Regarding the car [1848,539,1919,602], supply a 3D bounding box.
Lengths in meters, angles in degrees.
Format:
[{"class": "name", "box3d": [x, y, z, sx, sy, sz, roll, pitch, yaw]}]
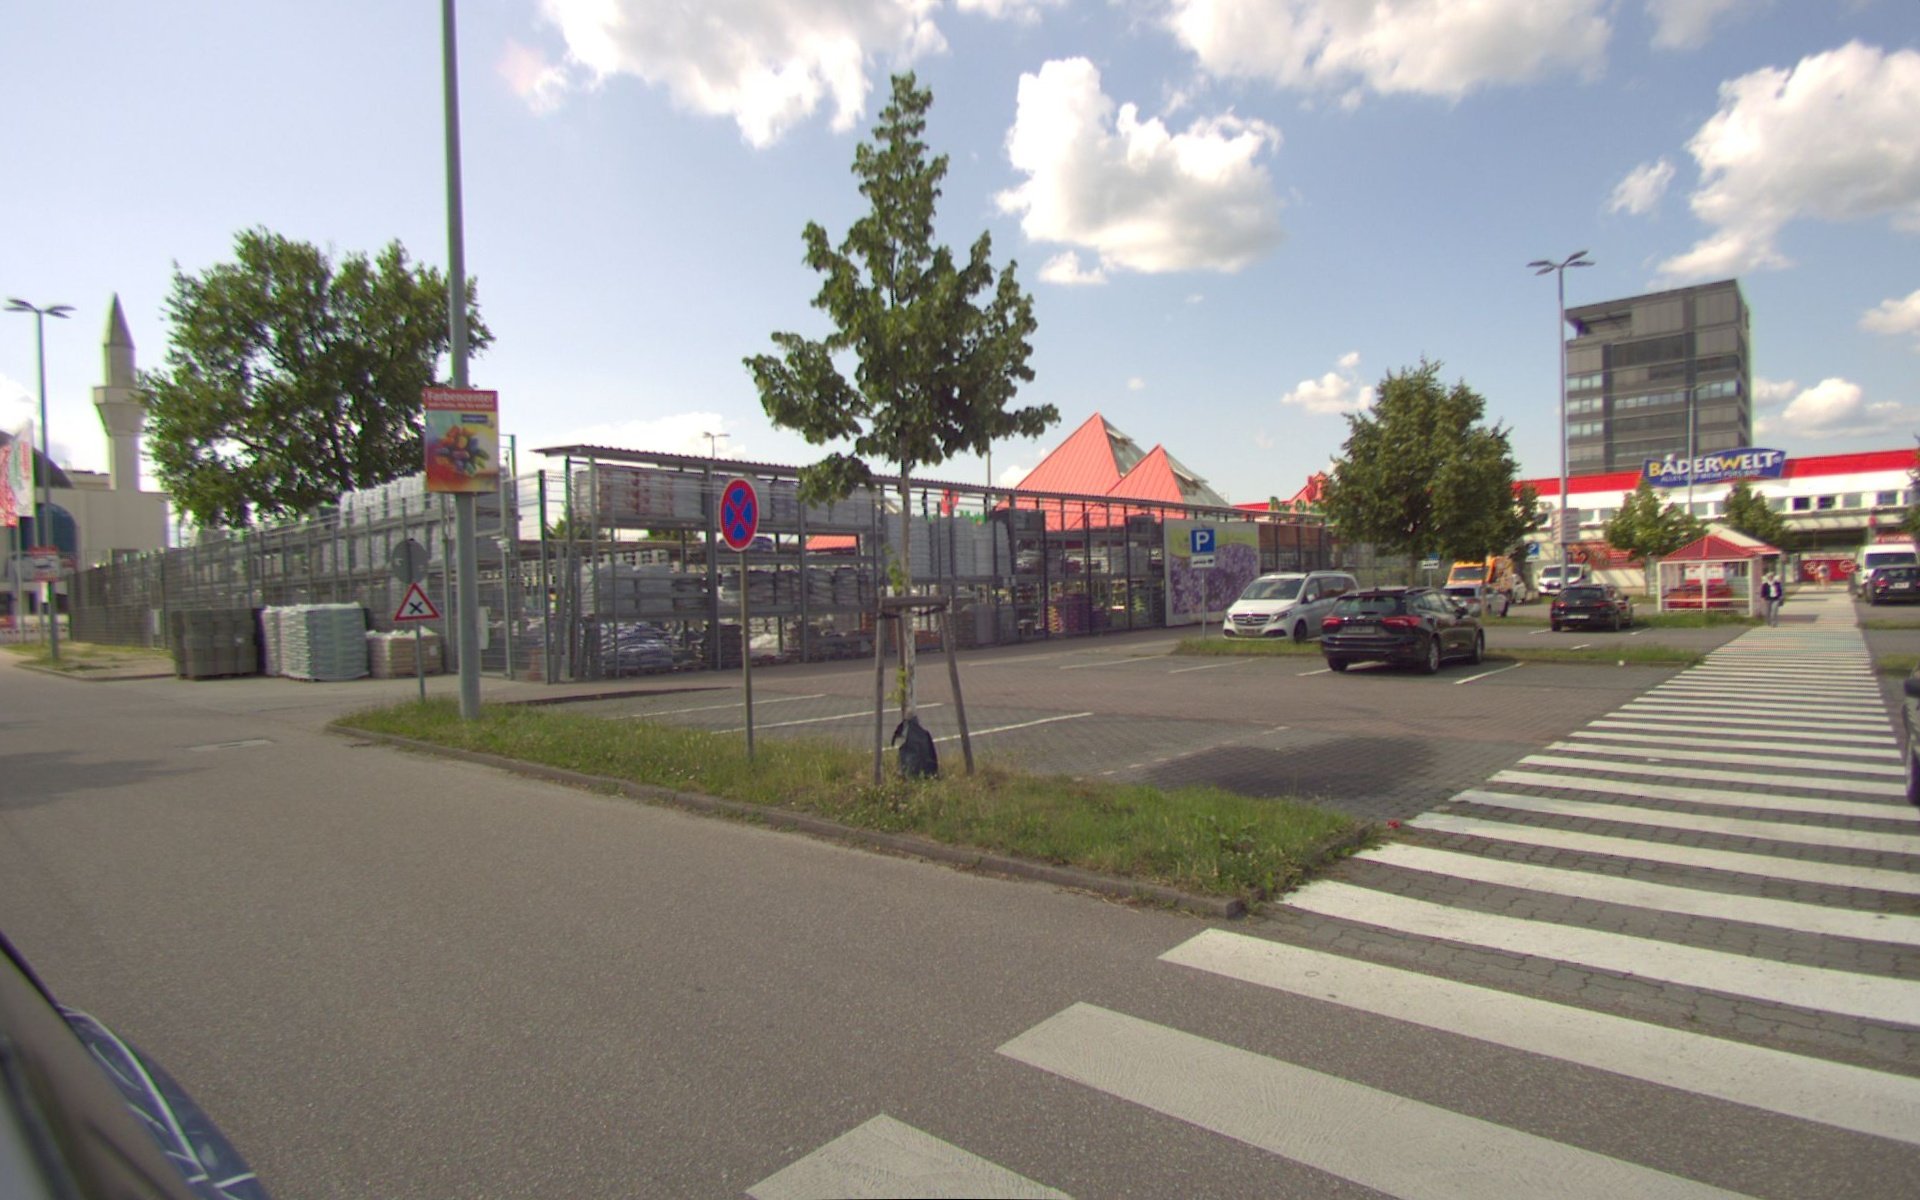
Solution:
[{"class": "car", "box3d": [41.254, -1.287, 45.025, 2.235, 2.656, 4.276, 0, 1, 36]}]

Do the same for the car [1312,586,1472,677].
[{"class": "car", "box3d": [7.787, 0.501, 18.086, 1.809, 1.415, 3.312, -1, 0, 38]}]

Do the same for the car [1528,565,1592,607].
[{"class": "car", "box3d": [31.006, -0.756, 52.216, 1.999, 2.028, 4.742, 3, 3, 41]}]

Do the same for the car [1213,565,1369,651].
[{"class": "car", "box3d": [8.791, 0.150, 26.577, 1.999, 2.029, 5.116, -2, 0, 41]}]

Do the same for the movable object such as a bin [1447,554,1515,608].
[{"class": "movable object such as a bin", "box3d": [25.737, -0.934, 49.872, 2.126, 2.512, 5.272, -2, 0, 36]}]

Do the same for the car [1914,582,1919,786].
[{"class": "car", "box3d": [5.941, 0.589, 4.961, 1.620, 1.378, 3.712, -2, 0, 40]}]

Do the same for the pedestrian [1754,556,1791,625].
[{"class": "pedestrian", "box3d": [24.561, -0.292, 30.585, 0.816, 2.029, 0.903, -2, 0, 40]}]

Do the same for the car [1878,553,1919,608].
[{"class": "car", "box3d": [36.781, -0.764, 38.949, 2.000, 2.029, 3.943, -2, 0, 44]}]
